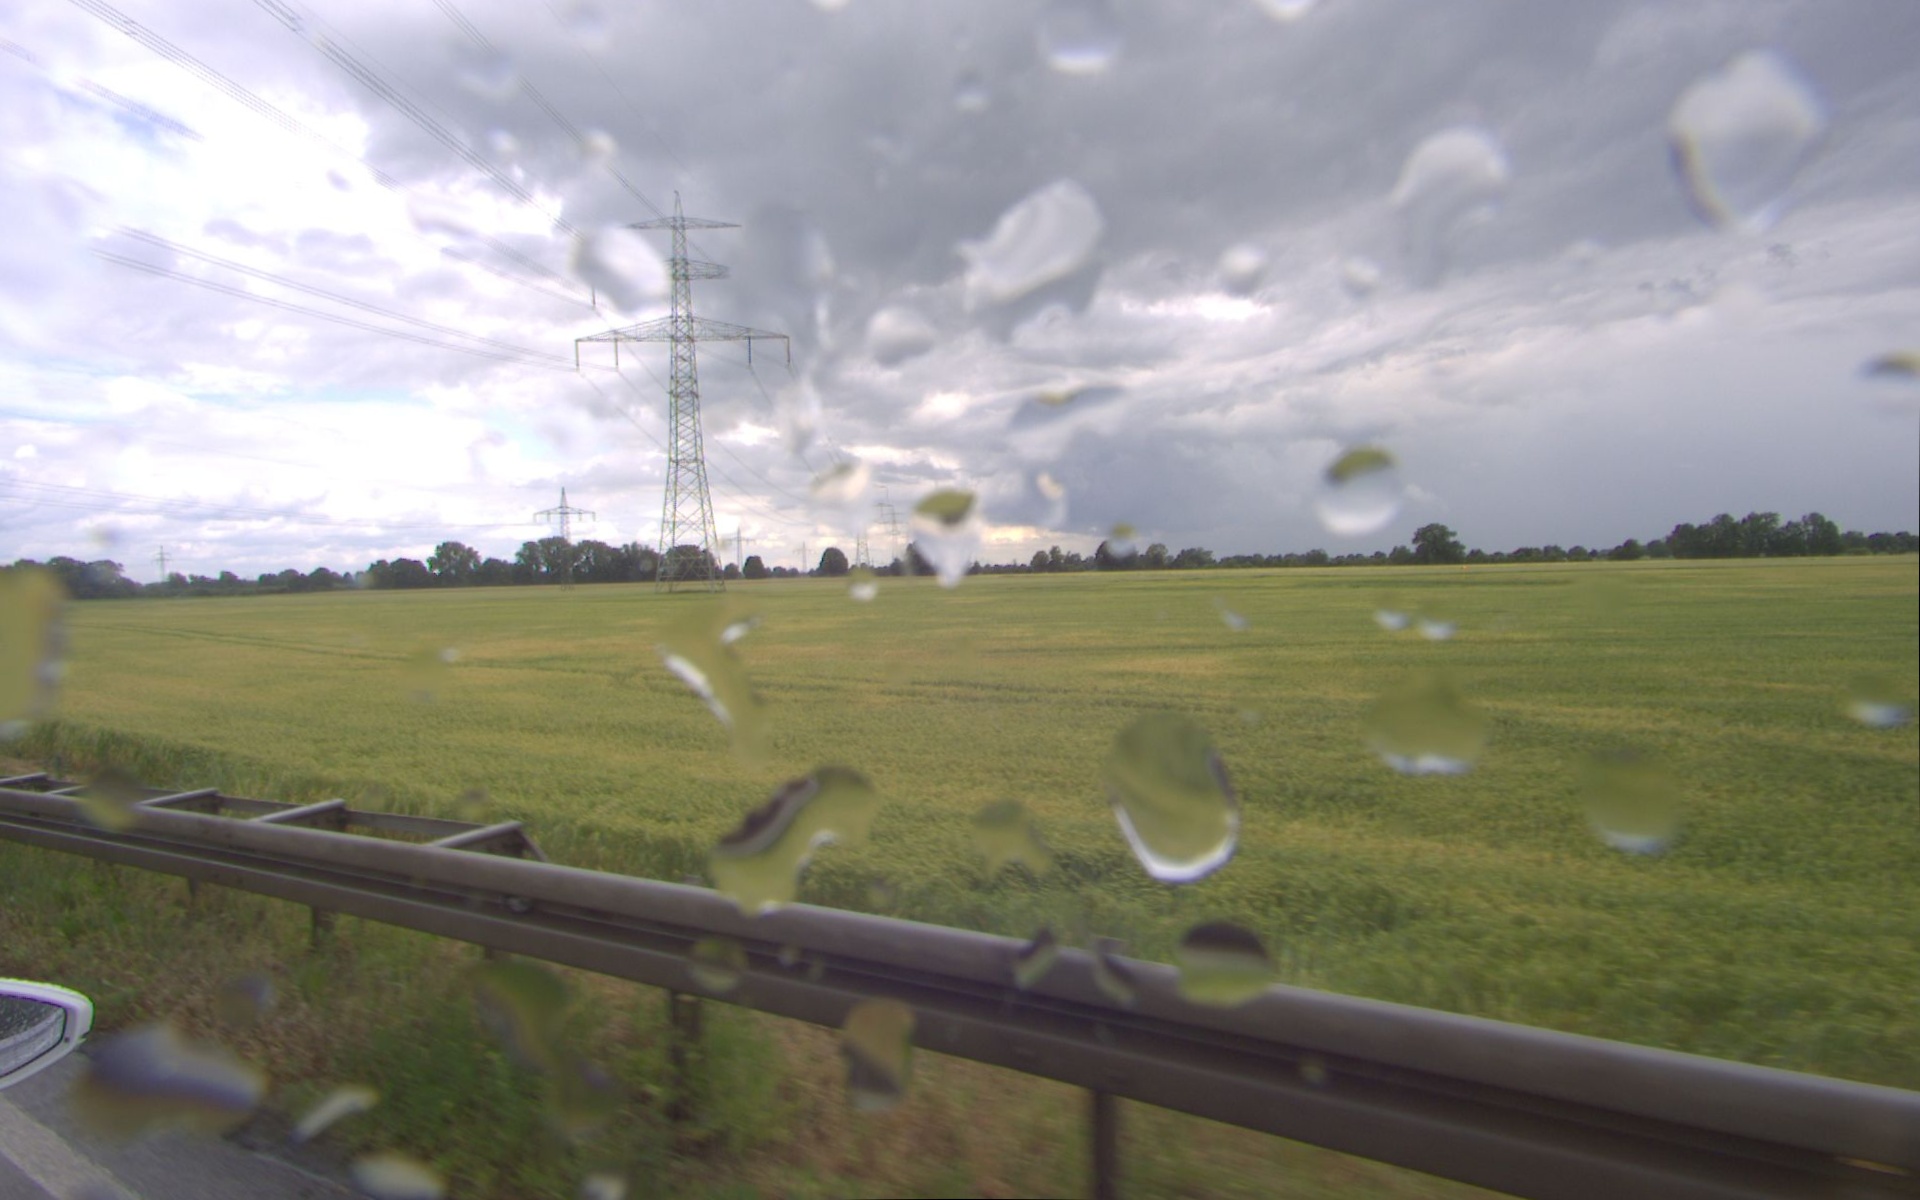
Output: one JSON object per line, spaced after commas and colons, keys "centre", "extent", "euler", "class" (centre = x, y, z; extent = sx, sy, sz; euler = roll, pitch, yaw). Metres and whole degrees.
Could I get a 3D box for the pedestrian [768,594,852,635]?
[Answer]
{"centre": [-7.811, 0.775, 52.197], "extent": [3.939, 2.039, 1.992], "euler": [-1, -2, 29], "class": "pedestrian"}
